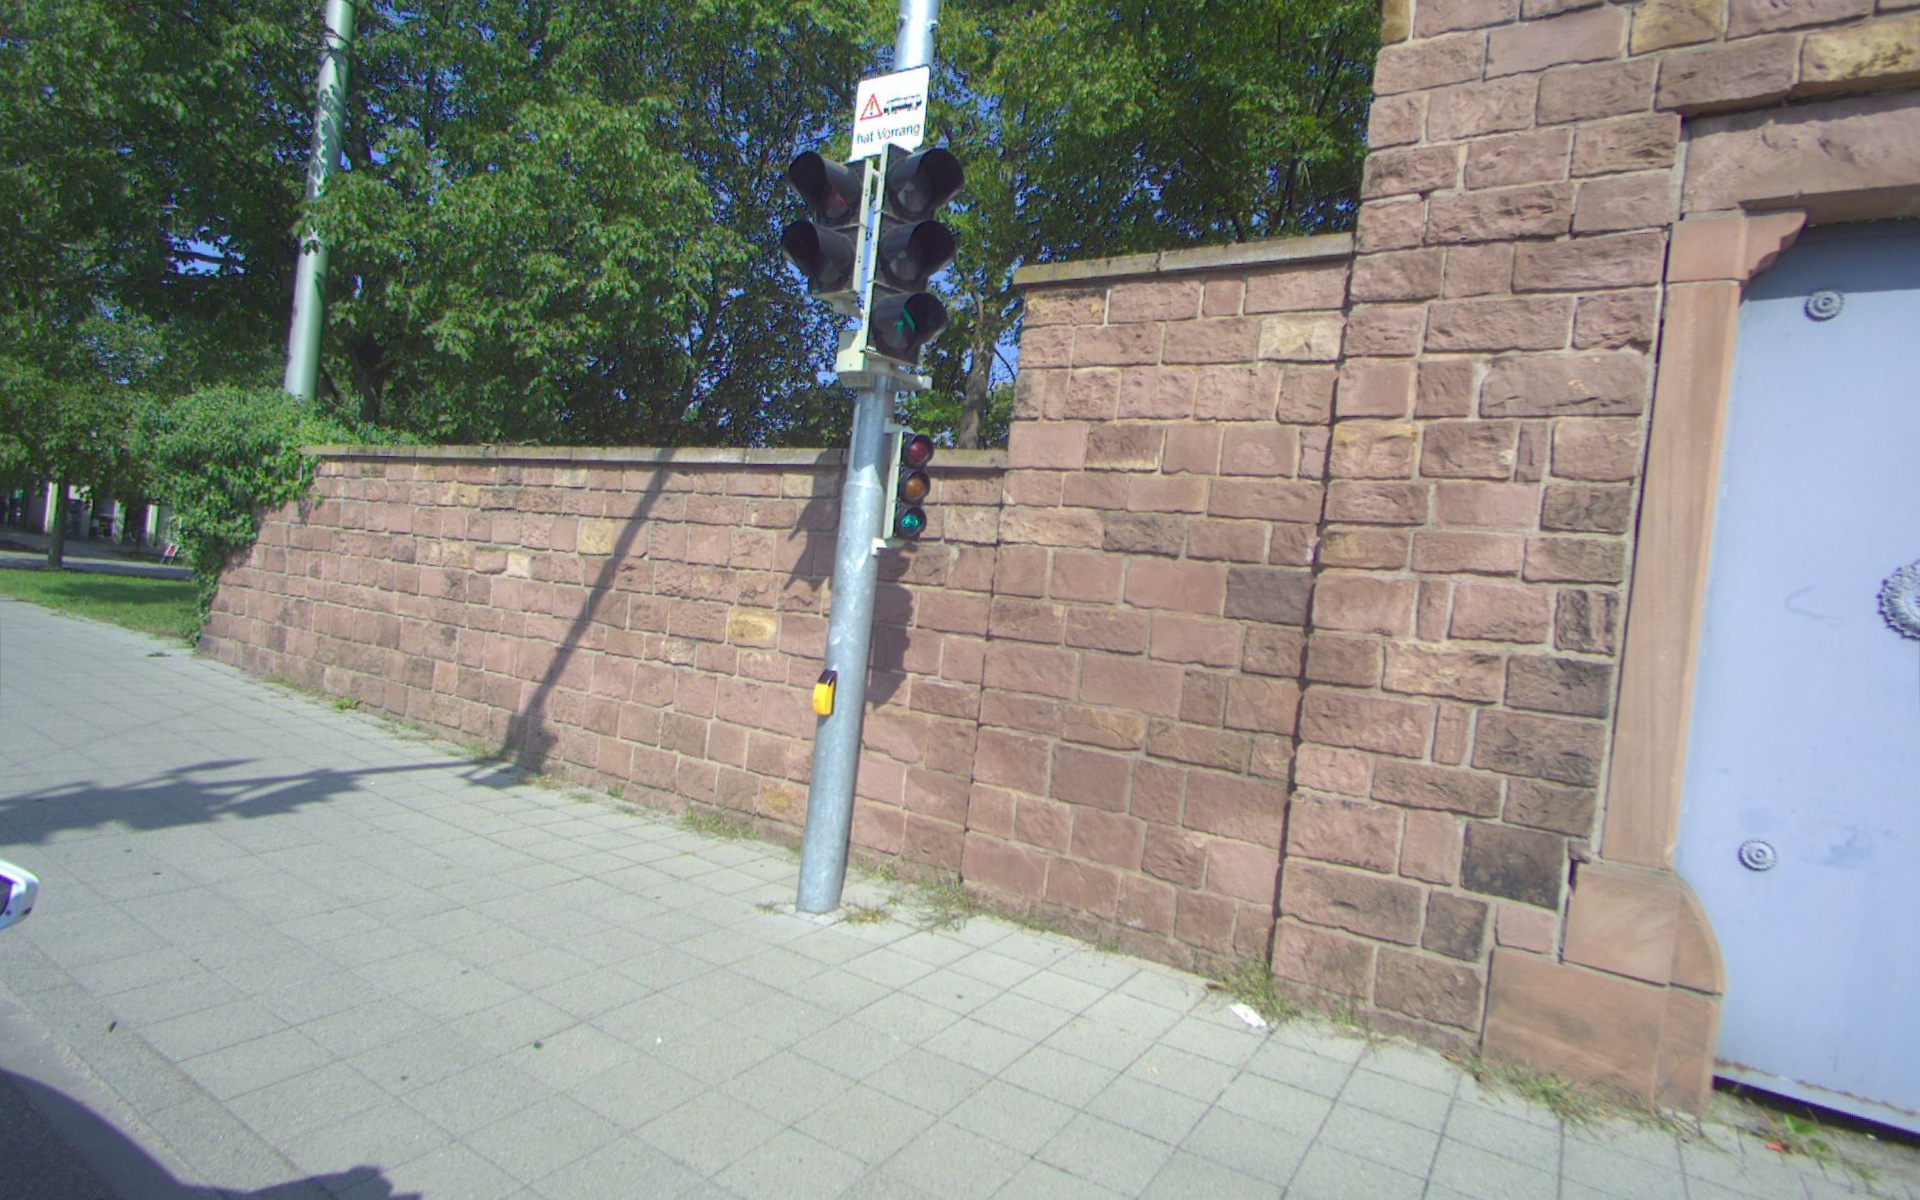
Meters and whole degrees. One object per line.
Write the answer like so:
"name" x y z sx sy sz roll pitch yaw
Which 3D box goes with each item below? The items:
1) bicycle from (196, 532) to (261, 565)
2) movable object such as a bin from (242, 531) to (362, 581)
"bicycle" -27.857 -1.940 38.355 0.420 0.991 1.907 6 -1 32
"movable object such as a bin" -22.527 -1.492 34.514 1.281 1.314 3.106 6 -1 35
